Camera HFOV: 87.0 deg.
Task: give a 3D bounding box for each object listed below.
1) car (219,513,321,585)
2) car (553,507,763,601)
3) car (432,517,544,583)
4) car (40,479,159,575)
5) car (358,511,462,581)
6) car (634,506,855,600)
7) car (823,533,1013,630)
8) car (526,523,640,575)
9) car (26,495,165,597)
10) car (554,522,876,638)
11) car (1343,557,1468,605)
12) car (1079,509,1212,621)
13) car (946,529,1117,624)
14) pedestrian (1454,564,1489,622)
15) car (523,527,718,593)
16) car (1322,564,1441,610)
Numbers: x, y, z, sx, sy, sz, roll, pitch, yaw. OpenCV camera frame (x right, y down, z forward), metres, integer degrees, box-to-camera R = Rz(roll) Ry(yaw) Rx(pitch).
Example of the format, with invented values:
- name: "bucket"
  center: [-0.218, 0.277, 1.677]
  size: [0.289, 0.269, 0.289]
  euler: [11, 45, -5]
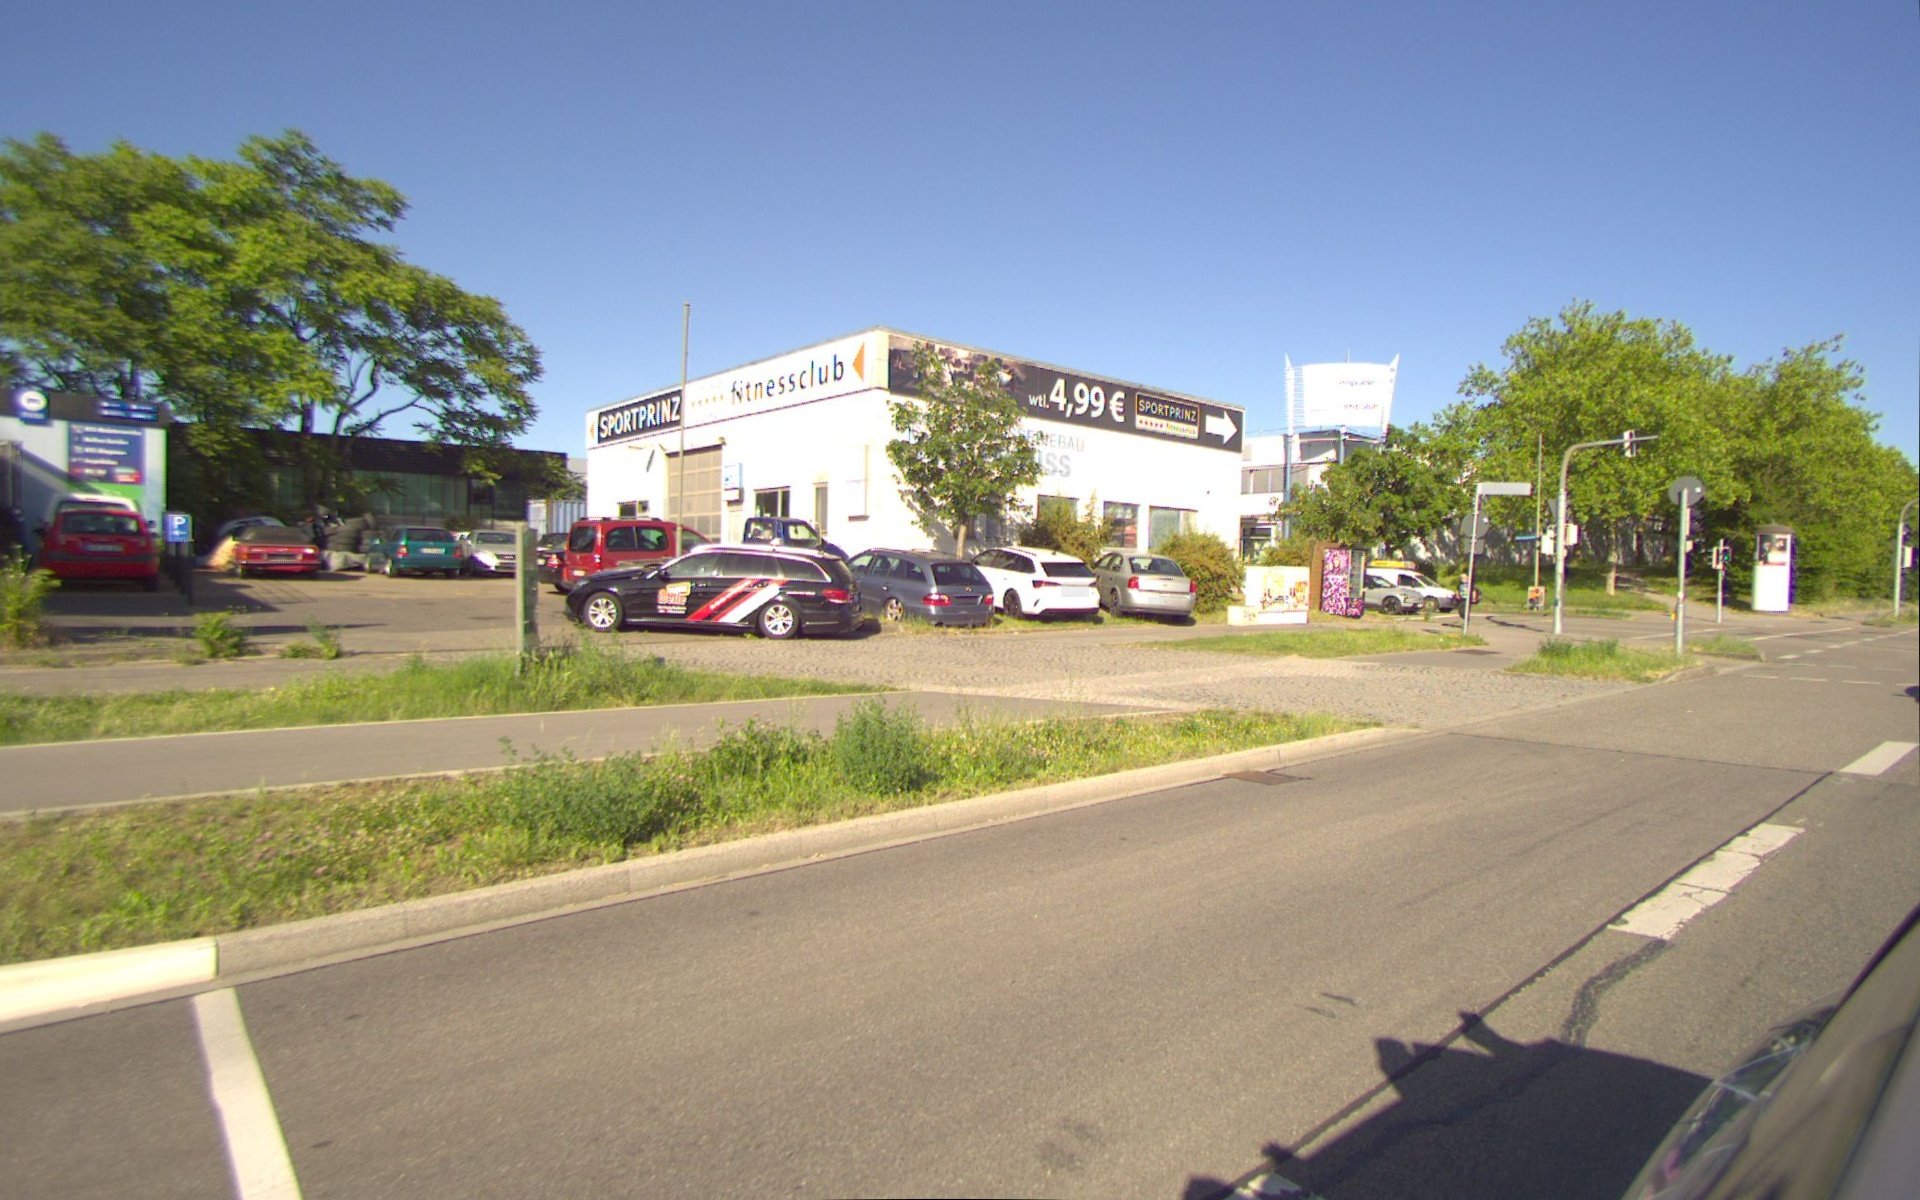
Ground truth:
- name: "car"
  center: [-17.106, -1.321, 25.023]
  size: [1.637, 1.390, 3.775]
  euler: [-4, 10, -41]
- name: "car"
  center: [-6.755, -1.053, 22.869]
  size: [4.146, 1.882, 1.896]
  euler: [-2, 6, -43]
- name: "car"
  center: [-14.230, -1.568, 30.423]
  size: [1.960, 1.537, 4.215]
  euler: [-4, 10, -41]
- name: "car"
  center: [-19.277, -1.539, 22.731]
  size: [1.890, 1.930, 3.698]
  euler: [-1, 1, -40]
- name: "car"
  center: [-15.240, -1.556, 27.939]
  size: [1.637, 1.616, 4.214]
  euler: [-4, 9, -41]
- name: "car"
  center: [-4.637, -1.045, 22.248]
  size: [4.520, 1.803, 1.686]
  euler: [-2, 6, -43]
- name: "car"
  center: [-0.898, -0.432, 19.570]
  size: [1.808, 1.304, 3.620]
  euler: [-1, 10, -39]
- name: "car"
  center: [-11.731, -1.600, 31.328]
  size: [1.960, 1.425, 4.213]
  euler: [-1, 5, -41]
- name: "car"
  center: [-16.551, -1.120, 19.413]
  size: [1.817, 1.564, 3.775]
  euler: [-4, 10, -41]
- name: "car"
  center: [-3.883, -0.371, 16.535]
  size: [4.748, 1.549, 1.901]
  euler: [3, 4, 3]
- name: "car"
  center: [19.420, -0.871, 44.291]
  size: [1.839, 1.958, 4.691]
  euler: [-1, 2, -39]
- name: "car"
  center: [4.201, -0.916, 23.596]
  size: [1.652, 2.035, 4.013]
  euler: [4, 8, -9]
- name: "car"
  center: [1.411, -0.566, 21.697]
  size: [1.690, 1.468, 3.943]
  euler: [0, 9, -29]
- name: "pedestrian"
  center: [15.647, -0.218, 30.963]
  size: [0.607, 1.737, 0.759]
  euler: [-1, 2, -41]
- name: "car"
  center: [-8.183, -1.034, 24.578]
  size: [4.148, 1.266, 1.771]
  euler: [-5, 10, -43]
- name: "car"
  center: [17.228, -0.595, 41.506]
  size: [1.868, 1.665, 4.101]
  euler: [-2, 4, -39]
